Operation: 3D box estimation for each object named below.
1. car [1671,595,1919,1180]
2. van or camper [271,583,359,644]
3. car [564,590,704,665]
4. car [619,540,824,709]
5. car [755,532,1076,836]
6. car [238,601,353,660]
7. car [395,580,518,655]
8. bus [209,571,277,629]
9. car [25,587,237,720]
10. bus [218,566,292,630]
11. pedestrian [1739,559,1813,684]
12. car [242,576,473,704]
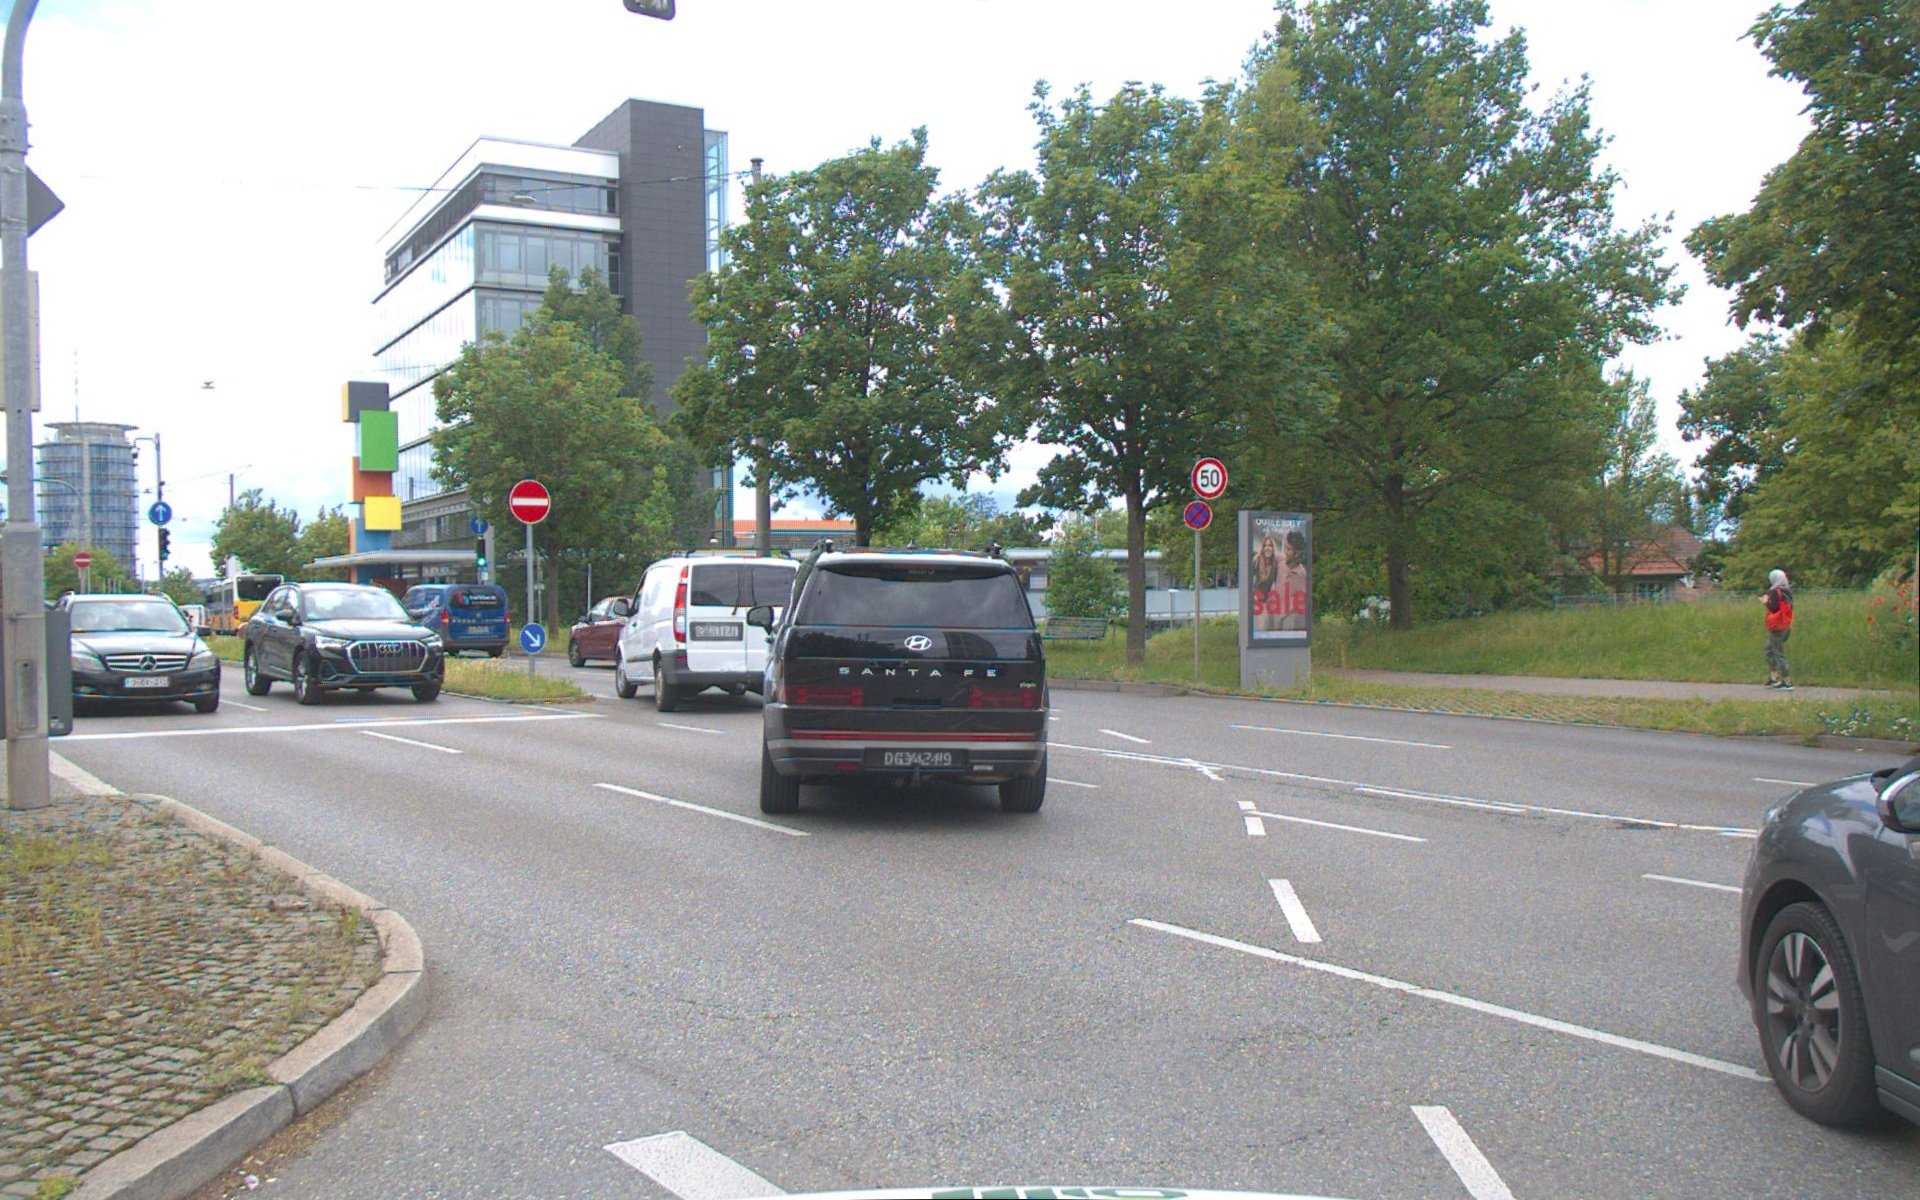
[{"bbox_3d":[3.274,0.739,3.692,1.666,1.486,4.062,0,0,1],"label":"car"},{"bbox_3d":[-22.154,0.425,56.724,1.976,1.951,4.357,0,1,-34],"label":"van or camper"},{"bbox_3d":[-6.958,0.542,35.052,1.728,1.507,3.677,0,0,-32],"label":"car"},{"bbox_3d":[-3.311,0.292,22.160,1.873,2.003,4.610,1,0,-19],"label":"car"},{"bbox_3d":[-0.403,0.491,11.886,1.864,1.762,4.442,0,0,-4],"label":"car"},{"bbox_3d":[-17.476,0.754,43.416,1.858,1.443,4.387,1,0,-35],"label":"car"},{"bbox_3d":[-13.405,0.428,43.857,1.885,1.891,4.655,1,0,-33],"label":"car"},{"bbox_3d":[-42.542,0.019,97.929,2.918,3.165,9.885,-2,0,-27],"label":"bus"},{"bbox_3d":[-10.510,0.591,20.805,1.768,1.450,4.341,0,1,-35],"label":"car"},{"bbox_3d":[-38.230,-0.066,89.546,2.932,3.170,9.160,-2,0,-27],"label":"bus"},{"bbox_3d":[11.080,0.281,22.453,0.537,1.631,0.693,-6,4,-36],"label":"pedestrian"},{"bbox_3d":[-8.528,0.484,23.190,1.874,1.592,4.338,0,1,-37],"label":"car"}]
